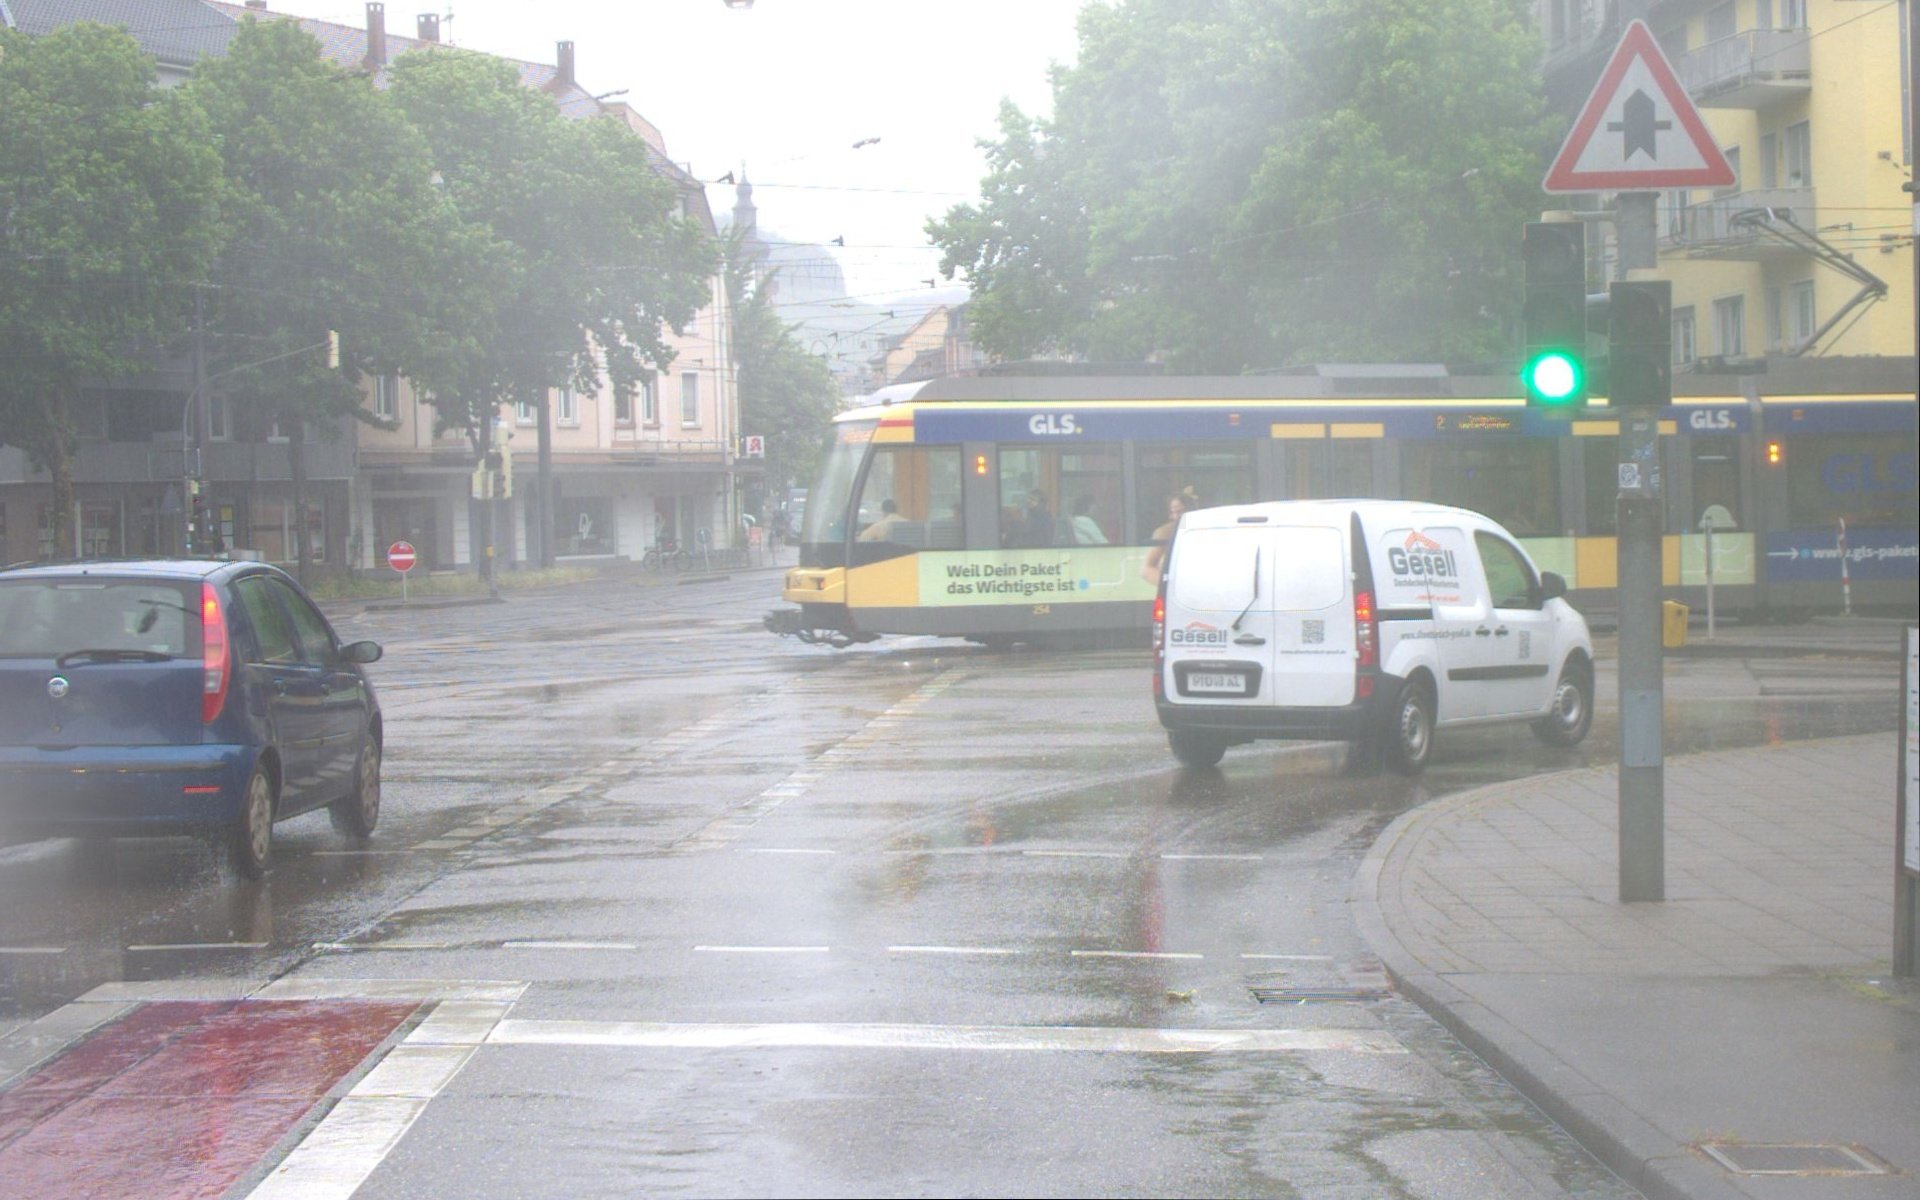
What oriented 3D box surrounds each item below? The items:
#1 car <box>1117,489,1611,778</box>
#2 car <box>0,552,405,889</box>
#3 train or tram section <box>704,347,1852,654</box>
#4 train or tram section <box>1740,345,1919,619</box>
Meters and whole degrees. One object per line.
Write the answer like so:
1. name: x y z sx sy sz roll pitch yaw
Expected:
1. car: 2.904 0.138 23.949 1.907 1.791 4.107 1 3 31
2. car: -3.968 0.537 16.759 1.882 1.454 3.832 0 -1 0
3. train or tram section: 4.195 -1.314 43.550 14.526 3.546 3.117 -1 2 -20
4. train or tram section: 18.077 -1.594 45.811 14.628 3.546 3.116 0 2 3
